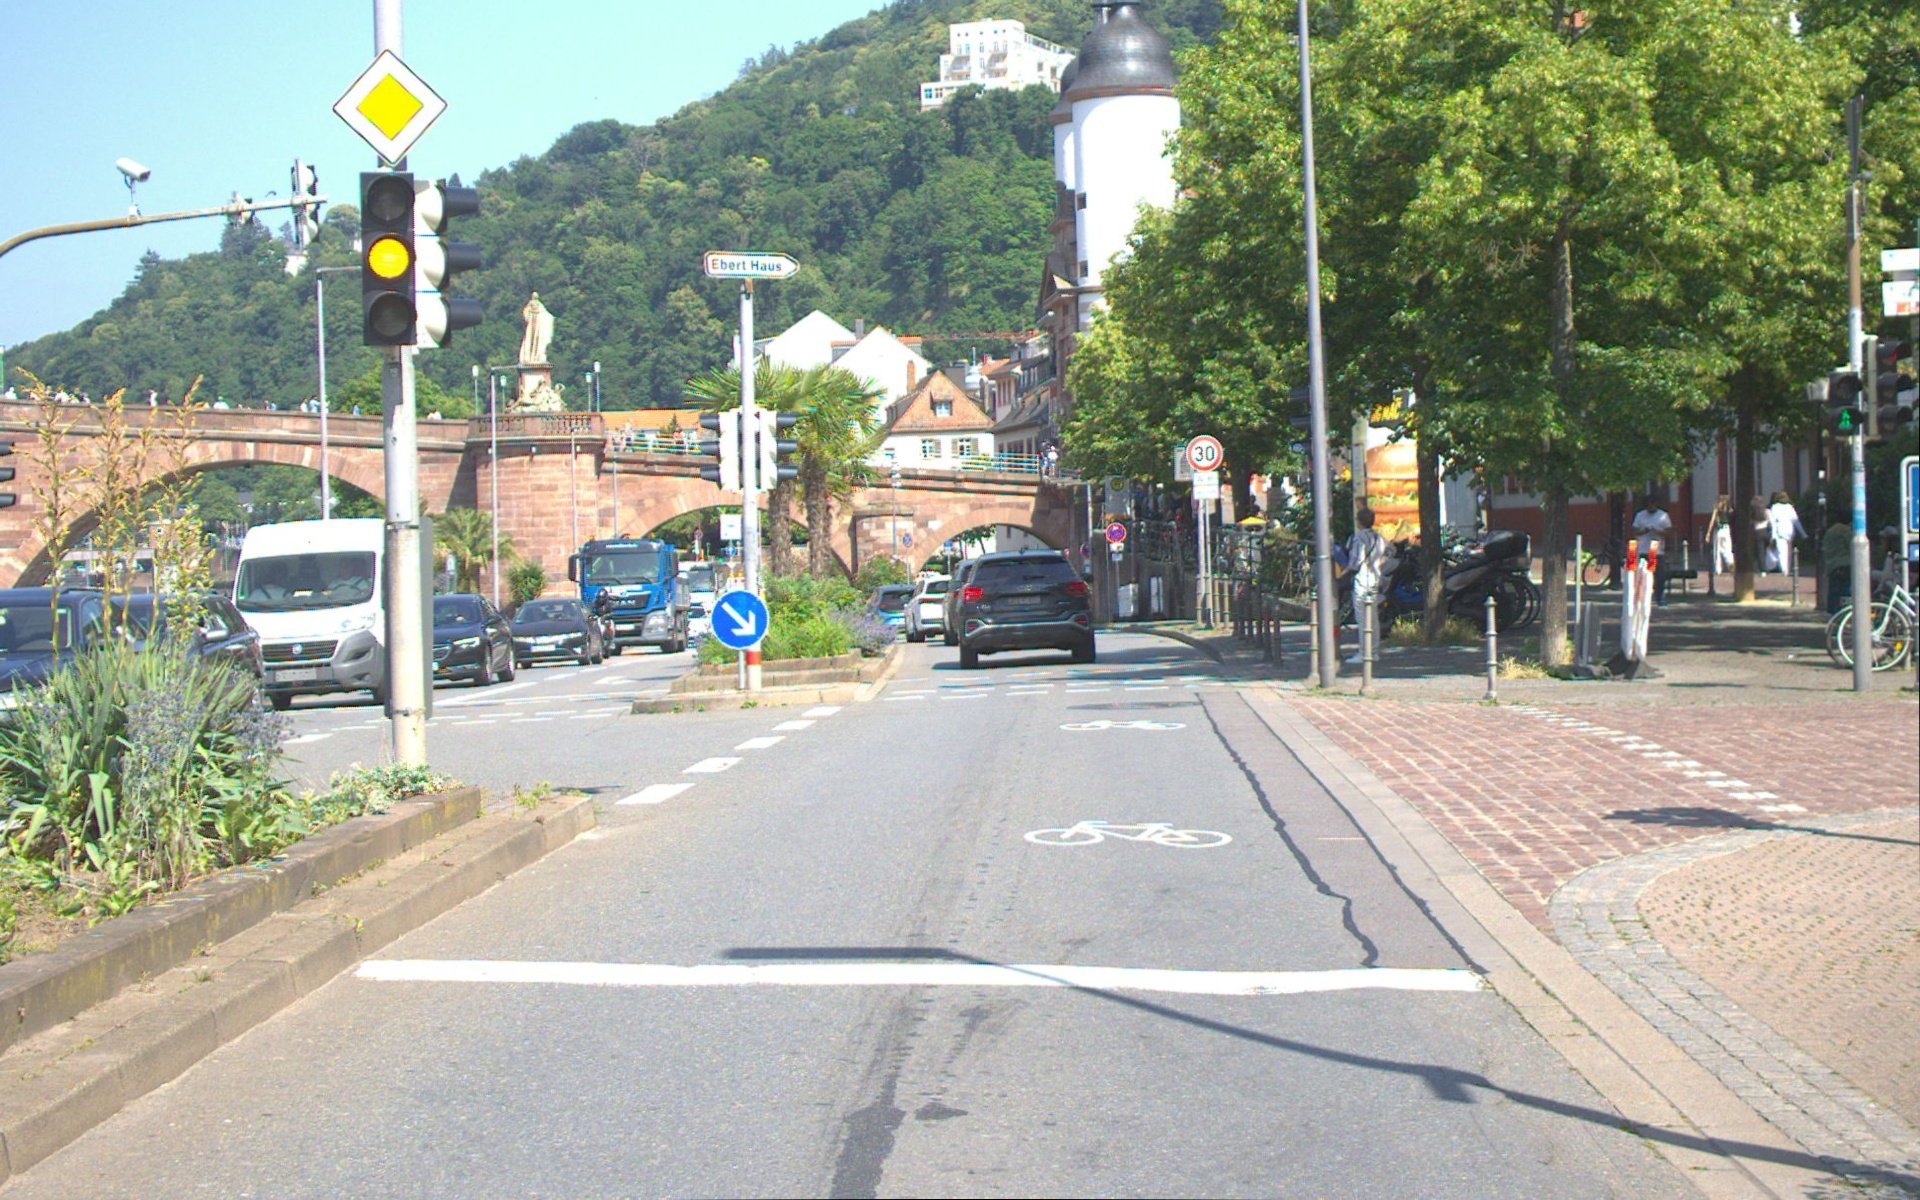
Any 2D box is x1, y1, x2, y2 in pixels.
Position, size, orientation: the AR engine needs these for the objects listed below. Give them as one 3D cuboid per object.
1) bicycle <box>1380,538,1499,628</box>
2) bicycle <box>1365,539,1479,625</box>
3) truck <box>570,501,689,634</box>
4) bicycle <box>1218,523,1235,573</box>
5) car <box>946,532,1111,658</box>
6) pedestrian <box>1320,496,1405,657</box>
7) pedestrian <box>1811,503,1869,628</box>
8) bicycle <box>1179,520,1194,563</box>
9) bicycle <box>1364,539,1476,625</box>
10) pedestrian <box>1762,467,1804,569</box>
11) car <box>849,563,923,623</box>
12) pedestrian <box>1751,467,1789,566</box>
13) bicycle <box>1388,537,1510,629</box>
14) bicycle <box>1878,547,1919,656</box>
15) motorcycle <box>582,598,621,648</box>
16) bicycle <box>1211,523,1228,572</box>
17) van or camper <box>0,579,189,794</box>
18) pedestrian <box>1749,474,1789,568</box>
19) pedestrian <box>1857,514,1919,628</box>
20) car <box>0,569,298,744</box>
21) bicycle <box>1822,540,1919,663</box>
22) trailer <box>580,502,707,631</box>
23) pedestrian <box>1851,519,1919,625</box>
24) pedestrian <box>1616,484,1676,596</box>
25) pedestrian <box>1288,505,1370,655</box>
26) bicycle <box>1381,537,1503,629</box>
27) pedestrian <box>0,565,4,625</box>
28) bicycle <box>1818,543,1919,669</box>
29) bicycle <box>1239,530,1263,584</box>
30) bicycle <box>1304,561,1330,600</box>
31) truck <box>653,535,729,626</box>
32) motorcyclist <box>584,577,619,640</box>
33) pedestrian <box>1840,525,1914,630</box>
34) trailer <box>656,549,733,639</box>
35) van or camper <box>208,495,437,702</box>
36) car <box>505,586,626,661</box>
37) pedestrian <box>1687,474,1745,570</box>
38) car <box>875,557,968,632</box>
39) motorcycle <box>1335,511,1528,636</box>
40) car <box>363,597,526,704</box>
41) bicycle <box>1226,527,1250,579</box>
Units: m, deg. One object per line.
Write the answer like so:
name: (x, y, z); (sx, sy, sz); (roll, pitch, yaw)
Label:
bicycle: (6.333, -0.229, 45.389); (1.483, 1.116, 0.294); (-3, 1, -5)
bicycle: (6.354, -0.247, 47.297); (1.483, 1.116, 0.251); (-3, 1, -5)
truck: (-8.792, -0.878, 91.946); (2.658, 3.391, 4.450); (-2, 1, 0)
bicycle: (5.945, -1.155, 76.621); (0.250, 1.092, 1.489); (0, 1, -1)
car: (0.863, -0.085, 46.217); (1.926, 1.548, 4.832); (-2, 0, -2)
pedestrian: (4.562, -0.272, 38.992); (0.693, 1.765, 0.764); (-3, 1, -8)
pedestrian: (10.837, -0.427, 42.352); (0.459, 1.512, 0.690); (-1, 1, -8)
bicycle: (5.885, -1.515, 89.257); (0.356, 1.092, 1.488); (0, 1, 5)
bicycle: (6.431, -0.253, 48.045); (1.483, 1.116, 0.251); (-3, 1, -5)
pedestrian: (16.497, -1.638, 68.939); (0.634, 2.007, 0.644); (-2, 1, -1)
car: (-2.100, -0.222, 98.820); (1.993, 1.548, 4.832); (-2, 1, 0)
pedestrian: (16.793, -1.731, 71.301); (0.585, 2.007, 0.596); (-2, 1, -1)
bicycle: (6.324, -0.216, 44.508); (1.484, 1.116, 0.294); (-3, 1, -2)
bicycle: (9.780, -0.006, 35.114); (0.594, 1.064, 2.063); (-2, 1, 19)
motorcycle: (-8.550, 0.532, 82.062); (0.757, 1.128, 2.456); (-2, 1, -3)
bicycle: (5.929, -1.196, 78.548); (0.250, 1.092, 1.489); (0, 1, -1)
van or camper: (-7.493, 0.630, 26.359); (1.993, 1.471, 5.065); (-3, 0, -1)
pedestrian: (16.030, -1.559, 68.141); (0.585, 1.834, 0.596); (-2, 1, -1)
pedestrian: (11.357, -0.352, 41.952); (0.625, 1.377, 0.542); (0, 1, -8)
car: (-7.769, 0.490, 32.884); (1.952, 1.404, 4.570); (-4, 1, -1)
bicycle: (9.505, 0.006, 33.730); (2.013, 1.194, 0.521); (0, 1, 12)
trailer: (-8.782, -0.959, 96.277); (2.658, 3.391, 8.827); (-2, 1, 0)
pedestrian: (11.178, -0.339, 41.213); (0.693, 1.248, 0.764); (-2, 1, -8)
pedestrian: (10.270, -0.893, 51.465); (0.707, 1.647, 0.707); (-2, 1, 0)
pedestrian: (4.257, -0.234, 39.714); (0.693, 1.671, 0.764); (-3, 1, -8)
bicycle: (6.292, -0.223, 44.891); (1.483, 1.116, 0.378); (-3, 1, -5)
pedestrian: (-10.781, 0.484, 37.082); (0.693, 1.774, 0.764); (4, -2, -8)
bicycle: (9.342, 0.059, 33.246); (1.999, 1.194, 0.521); (1, 2, 12)
bicycle: (5.978, -0.880, 70.647); (0.345, 1.092, 1.489); (0, 1, -1)
bicycle: (6.227, -0.339, 59.993); (0.250, 0.661, 1.469); (-2, 1, -2)
truck: (-10.360, -0.771, 132.738); (2.657, 3.391, 5.136); (-2, 1, -3)
motorcyclist: (-8.557, 0.204, 82.100); (0.736, 1.465, 1.011); (-2, 1, -2)
pedestrian: (11.351, -0.280, 42.583); (0.625, 1.277, 0.754); (0, 1, -8)
trailer: (-10.552, -0.318, 137.323); (2.657, 3.391, 10.169); (-2, 1, -3)
van or camper: (-8.267, -0.018, 45.103); (1.993, 2.441, 5.495); (-3, 0, -2)
car: (-8.222, 0.502, 72.005); (1.952, 1.408, 4.218); (-4, -1, 0)
pedestrian: (15.290, -1.573, 69.528); (0.968, 1.908, 0.747); (-2, 1, 1)
car: (-0.852, -0.152, 78.088); (1.993, 1.548, 4.832); (-2, 1, 0)
motorcycle: (5.913, -0.323, 43.163); (2.296, 1.460, 0.762); (-3, 0, 41)
car: (-8.131, 0.762, 54.615); (1.818, 1.451, 4.929); (-4, 1, -1)
bicycle: (5.996, -1.015, 74.217); (0.275, 1.092, 1.489); (-6, 1, 0)
